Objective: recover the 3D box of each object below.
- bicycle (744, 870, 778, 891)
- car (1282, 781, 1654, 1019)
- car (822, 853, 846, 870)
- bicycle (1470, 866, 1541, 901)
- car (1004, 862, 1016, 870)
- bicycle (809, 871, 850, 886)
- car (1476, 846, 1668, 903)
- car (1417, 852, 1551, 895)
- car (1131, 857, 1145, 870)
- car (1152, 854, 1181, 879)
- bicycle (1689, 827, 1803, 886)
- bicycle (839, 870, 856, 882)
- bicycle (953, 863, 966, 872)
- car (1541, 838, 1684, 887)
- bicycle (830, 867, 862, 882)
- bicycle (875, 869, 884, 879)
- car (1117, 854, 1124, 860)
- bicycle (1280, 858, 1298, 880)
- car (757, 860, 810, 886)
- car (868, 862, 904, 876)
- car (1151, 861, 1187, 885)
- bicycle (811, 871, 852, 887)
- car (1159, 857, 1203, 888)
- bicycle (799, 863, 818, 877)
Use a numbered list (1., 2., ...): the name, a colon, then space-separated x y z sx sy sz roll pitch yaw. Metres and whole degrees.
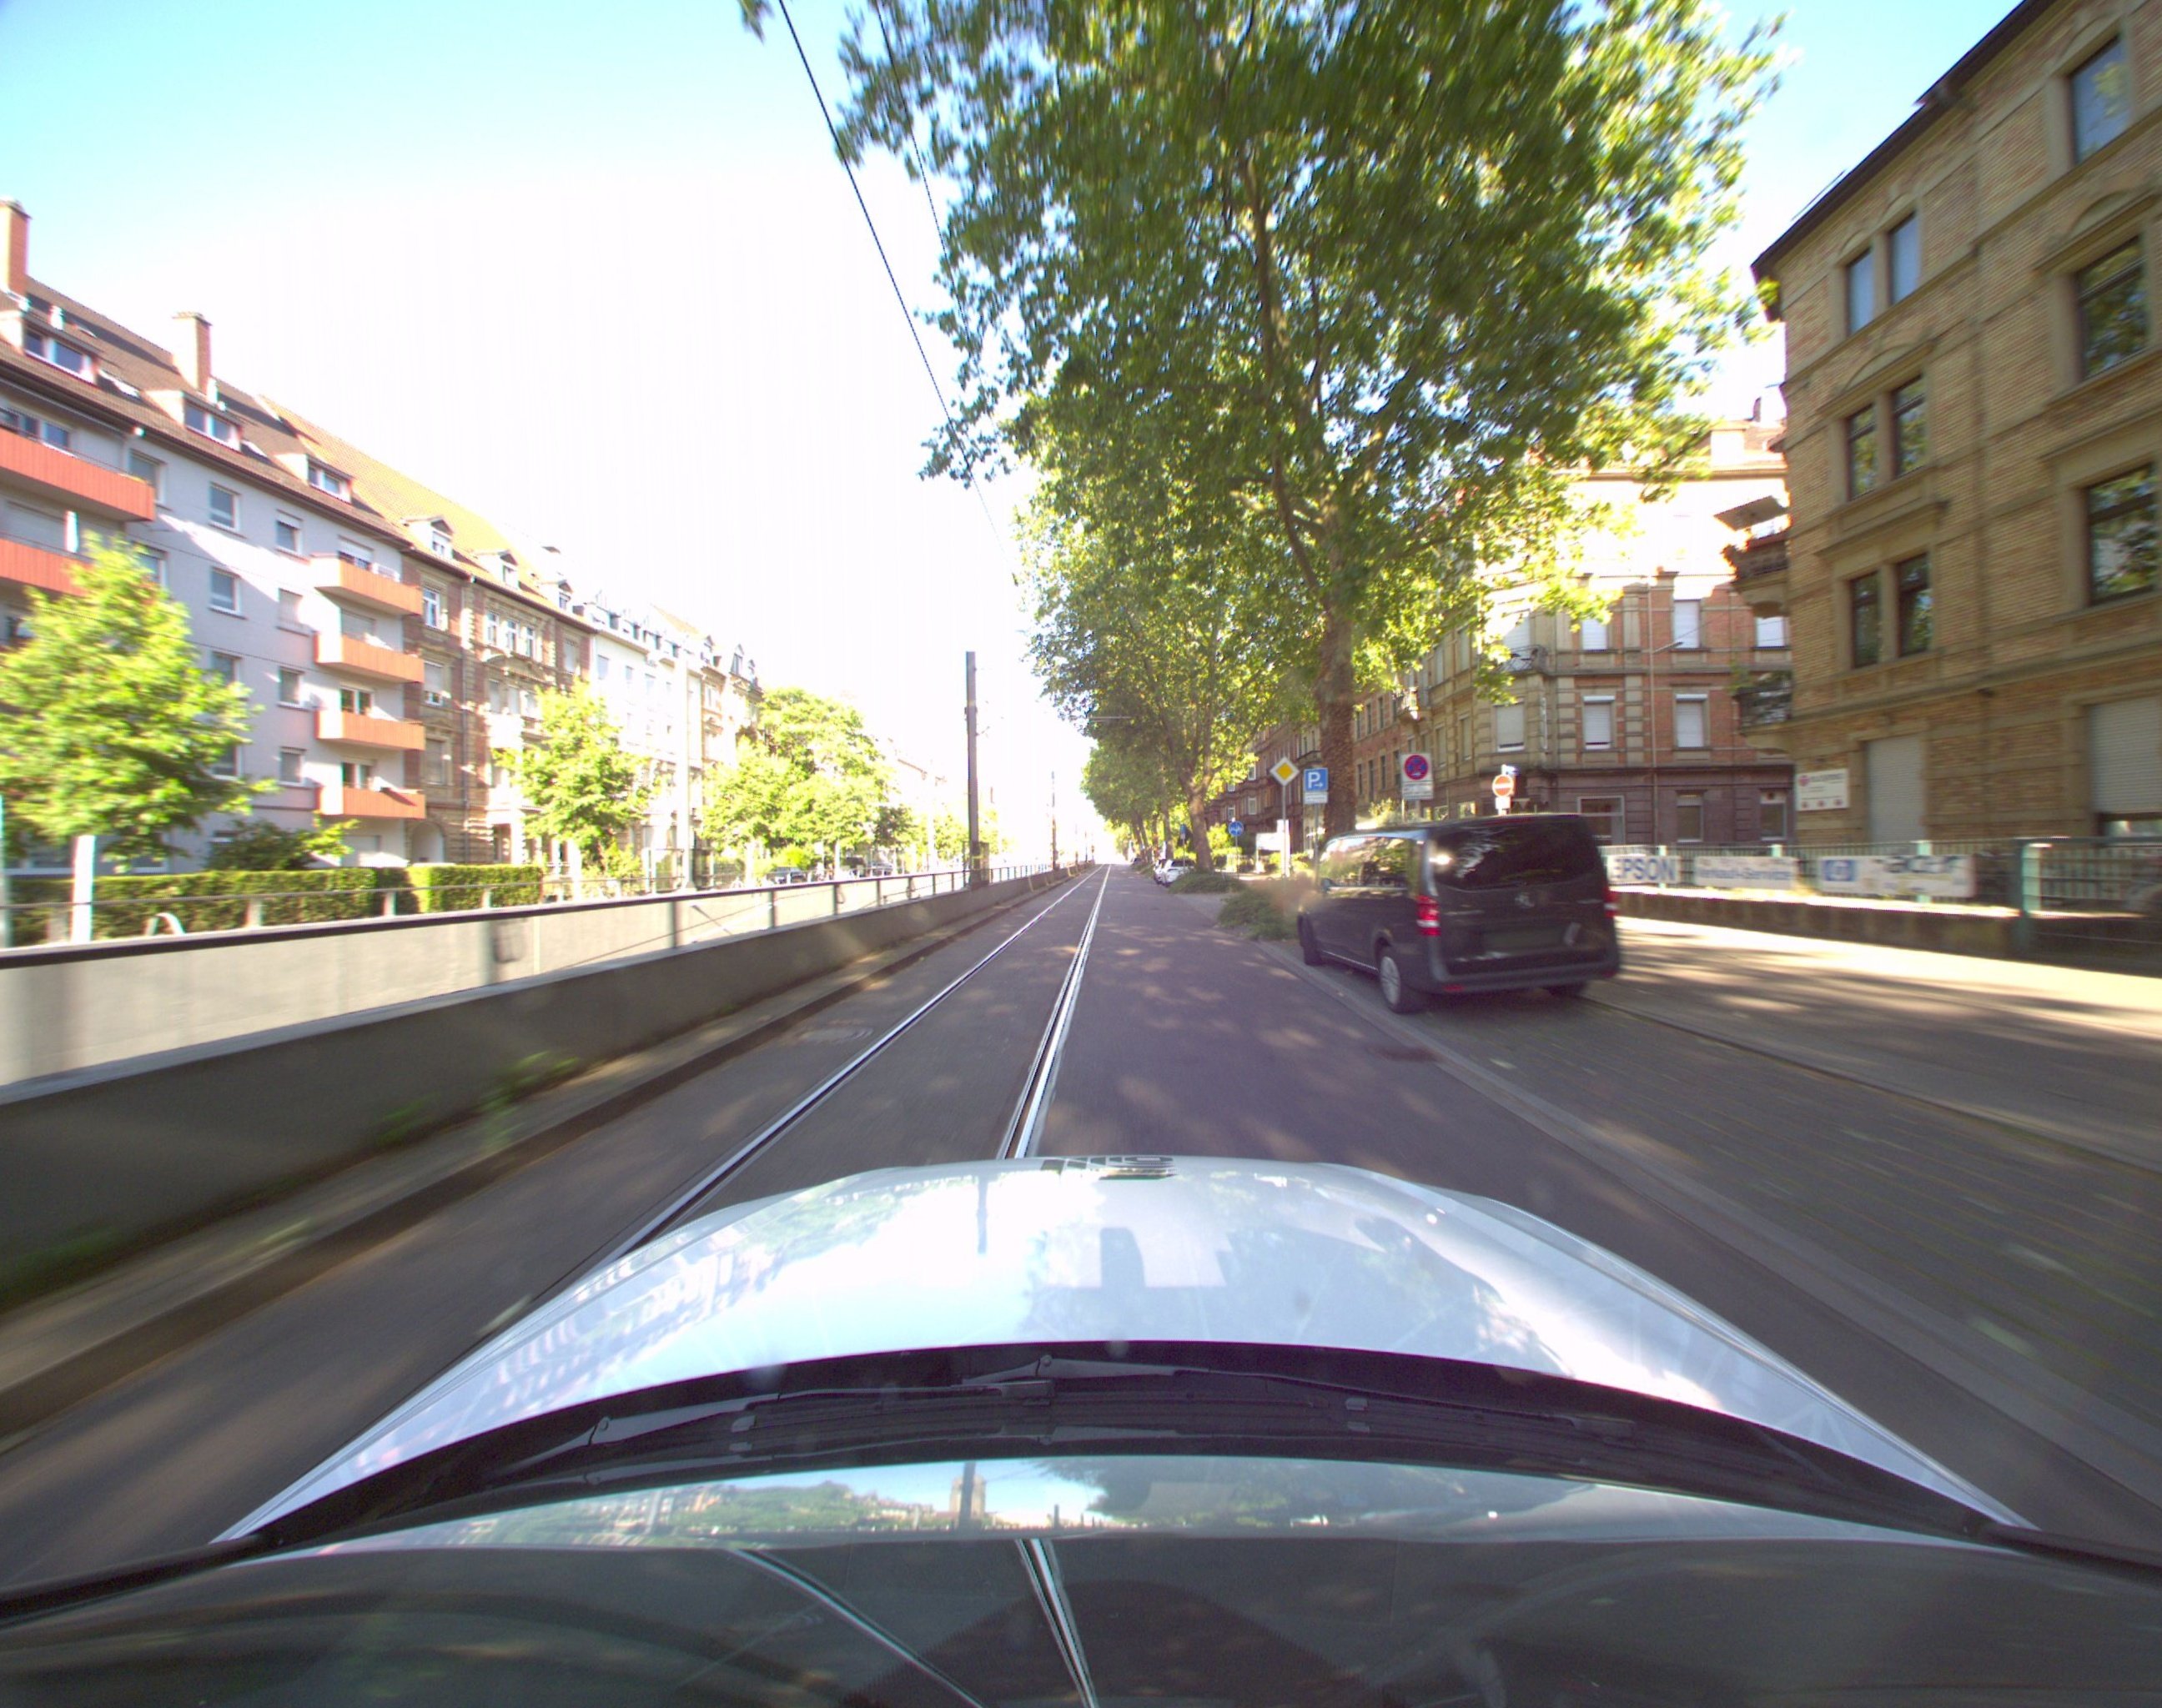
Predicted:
1. bicycle: -19.110 1.558 48.649 1.800 1.178 0.563 2 0 4
2. car: 4.024 0.393 9.714 1.987 2.013 5.202 -2 0 1
3. car: -28.263 0.871 93.366 1.993 1.849 4.466 2 0 -10
4. bicycle: 11.655 0.804 22.368 1.690 0.917 0.601 -1 -1 -10
5. car: -14.776 2.478 168.804 1.708 1.555 4.515 2 0 4
6. bicycle: -18.698 1.819 60.510 2.795 1.098 0.637 2 0 -31
7. car: 14.371 0.578 24.001 4.591 1.548 1.920 -1 0 -3
8. car: 14.383 0.679 29.221 3.975 1.364 1.742 -1 1 -1
9. car: 7.812 1.306 111.737 1.610 1.587 4.418 -2 -1 1
10. car: 5.655 0.817 54.233 1.724 1.536 4.809 -1 0 4
11. bicycle: 13.668 0.051 16.760 1.853 1.153 0.477 -1 -1 5
12. bicycle: -18.644 1.747 65.035 1.272 0.905 0.534 2 -1 -28
13. bicycle: -16.645 1.879 111.654 1.721 1.280 0.601 -1 -1 8
14. car: 19.107 0.314 29.432 3.879 1.647 1.895 -1 0 4
15. bicycle: -18.567 1.639 64.419 2.381 1.098 0.552 2 -1 -29
16. bicycle: -21.047 2.069 85.026 0.457 1.005 1.926 2 -4 -29
17. car: 10.110 0.769 209.553 1.739 1.462 3.645 2 0 1
18. bicycle: 11.093 0.803 43.448 0.473 1.143 1.897 -3 0 2
19. car: -18.876 1.176 51.799 1.826 1.585 3.999 2 0 0
20. car: -23.612 1.766 98.762 3.983 1.624 1.821 1 0 -7
21. car: 5.073 1.070 47.256 1.823 1.326 4.002 -1 0 2
22. bicycle: -18.318 1.828 59.936 2.795 1.098 0.637 2 0 -31
23. car: 5.088 0.916 42.031 1.796 1.477 4.648 -1 0 2
24. bicycle: -22.030 1.254 65.858 0.553 1.098 2.377 2 0 2
